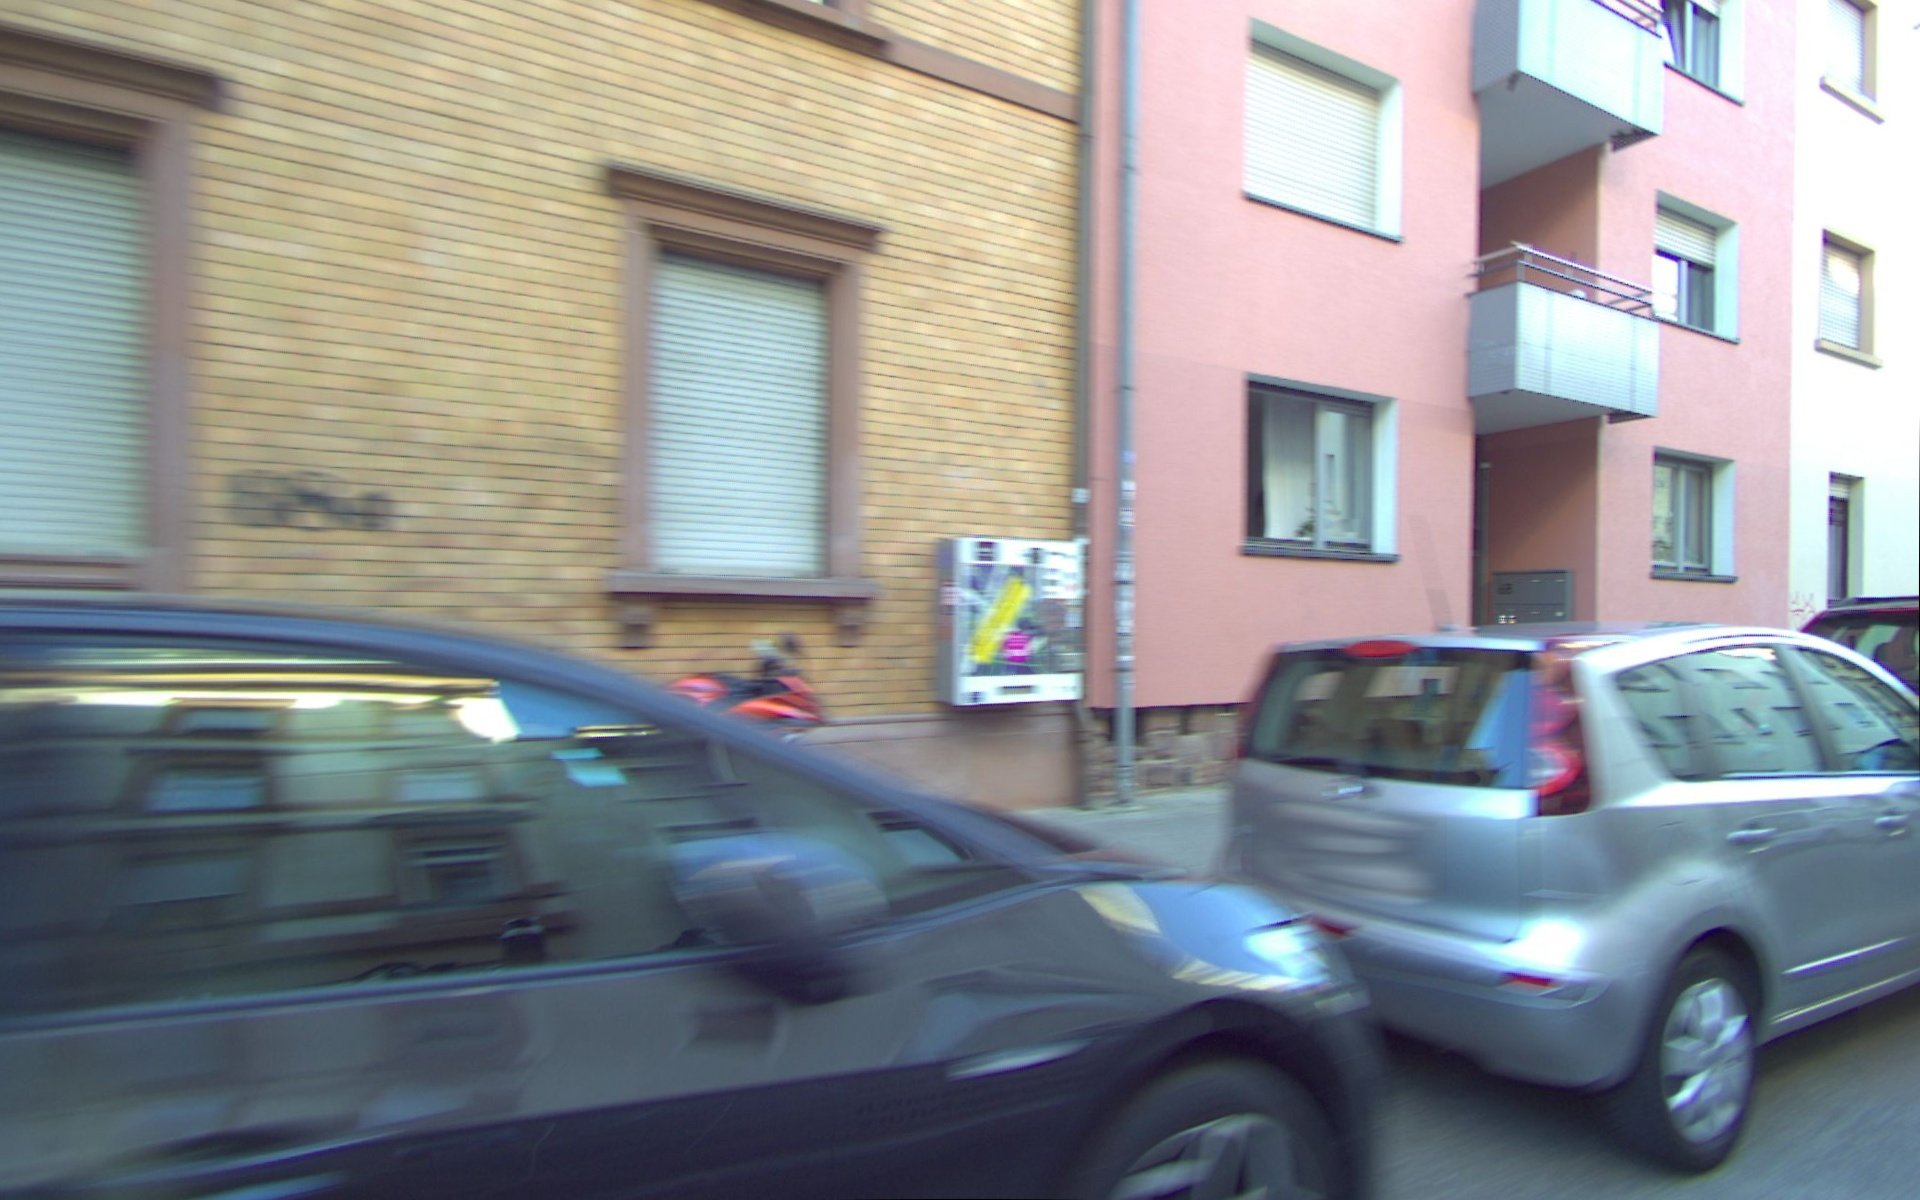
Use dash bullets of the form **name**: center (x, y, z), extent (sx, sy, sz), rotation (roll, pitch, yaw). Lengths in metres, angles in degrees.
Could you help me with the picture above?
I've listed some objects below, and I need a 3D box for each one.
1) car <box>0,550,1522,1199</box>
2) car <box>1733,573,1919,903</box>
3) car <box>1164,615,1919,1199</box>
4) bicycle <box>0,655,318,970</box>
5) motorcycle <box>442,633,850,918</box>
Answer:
- **car**: center (-1.050, 0.759, 1.799), extent (4.044, 1.541, 1.689), rotation (1, -2, -28)
- **car**: center (7.365, 0.799, 6.710), extent (4.613, 1.835, 1.737), rotation (1, -2, -28)
- **car**: center (2.893, 0.863, 4.104), extent (3.895, 1.541, 1.650), rotation (1, -2, -28)
- **bicycle**: center (-3.610, 0.793, 3.876), extent (1.868, 1.088, 0.531), rotation (1, 4, -30)
- **motorcycle**: center (-1.534, 0.785, 5.060), extent (1.885, 1.222, 0.531), rotation (1, 0, -30)
